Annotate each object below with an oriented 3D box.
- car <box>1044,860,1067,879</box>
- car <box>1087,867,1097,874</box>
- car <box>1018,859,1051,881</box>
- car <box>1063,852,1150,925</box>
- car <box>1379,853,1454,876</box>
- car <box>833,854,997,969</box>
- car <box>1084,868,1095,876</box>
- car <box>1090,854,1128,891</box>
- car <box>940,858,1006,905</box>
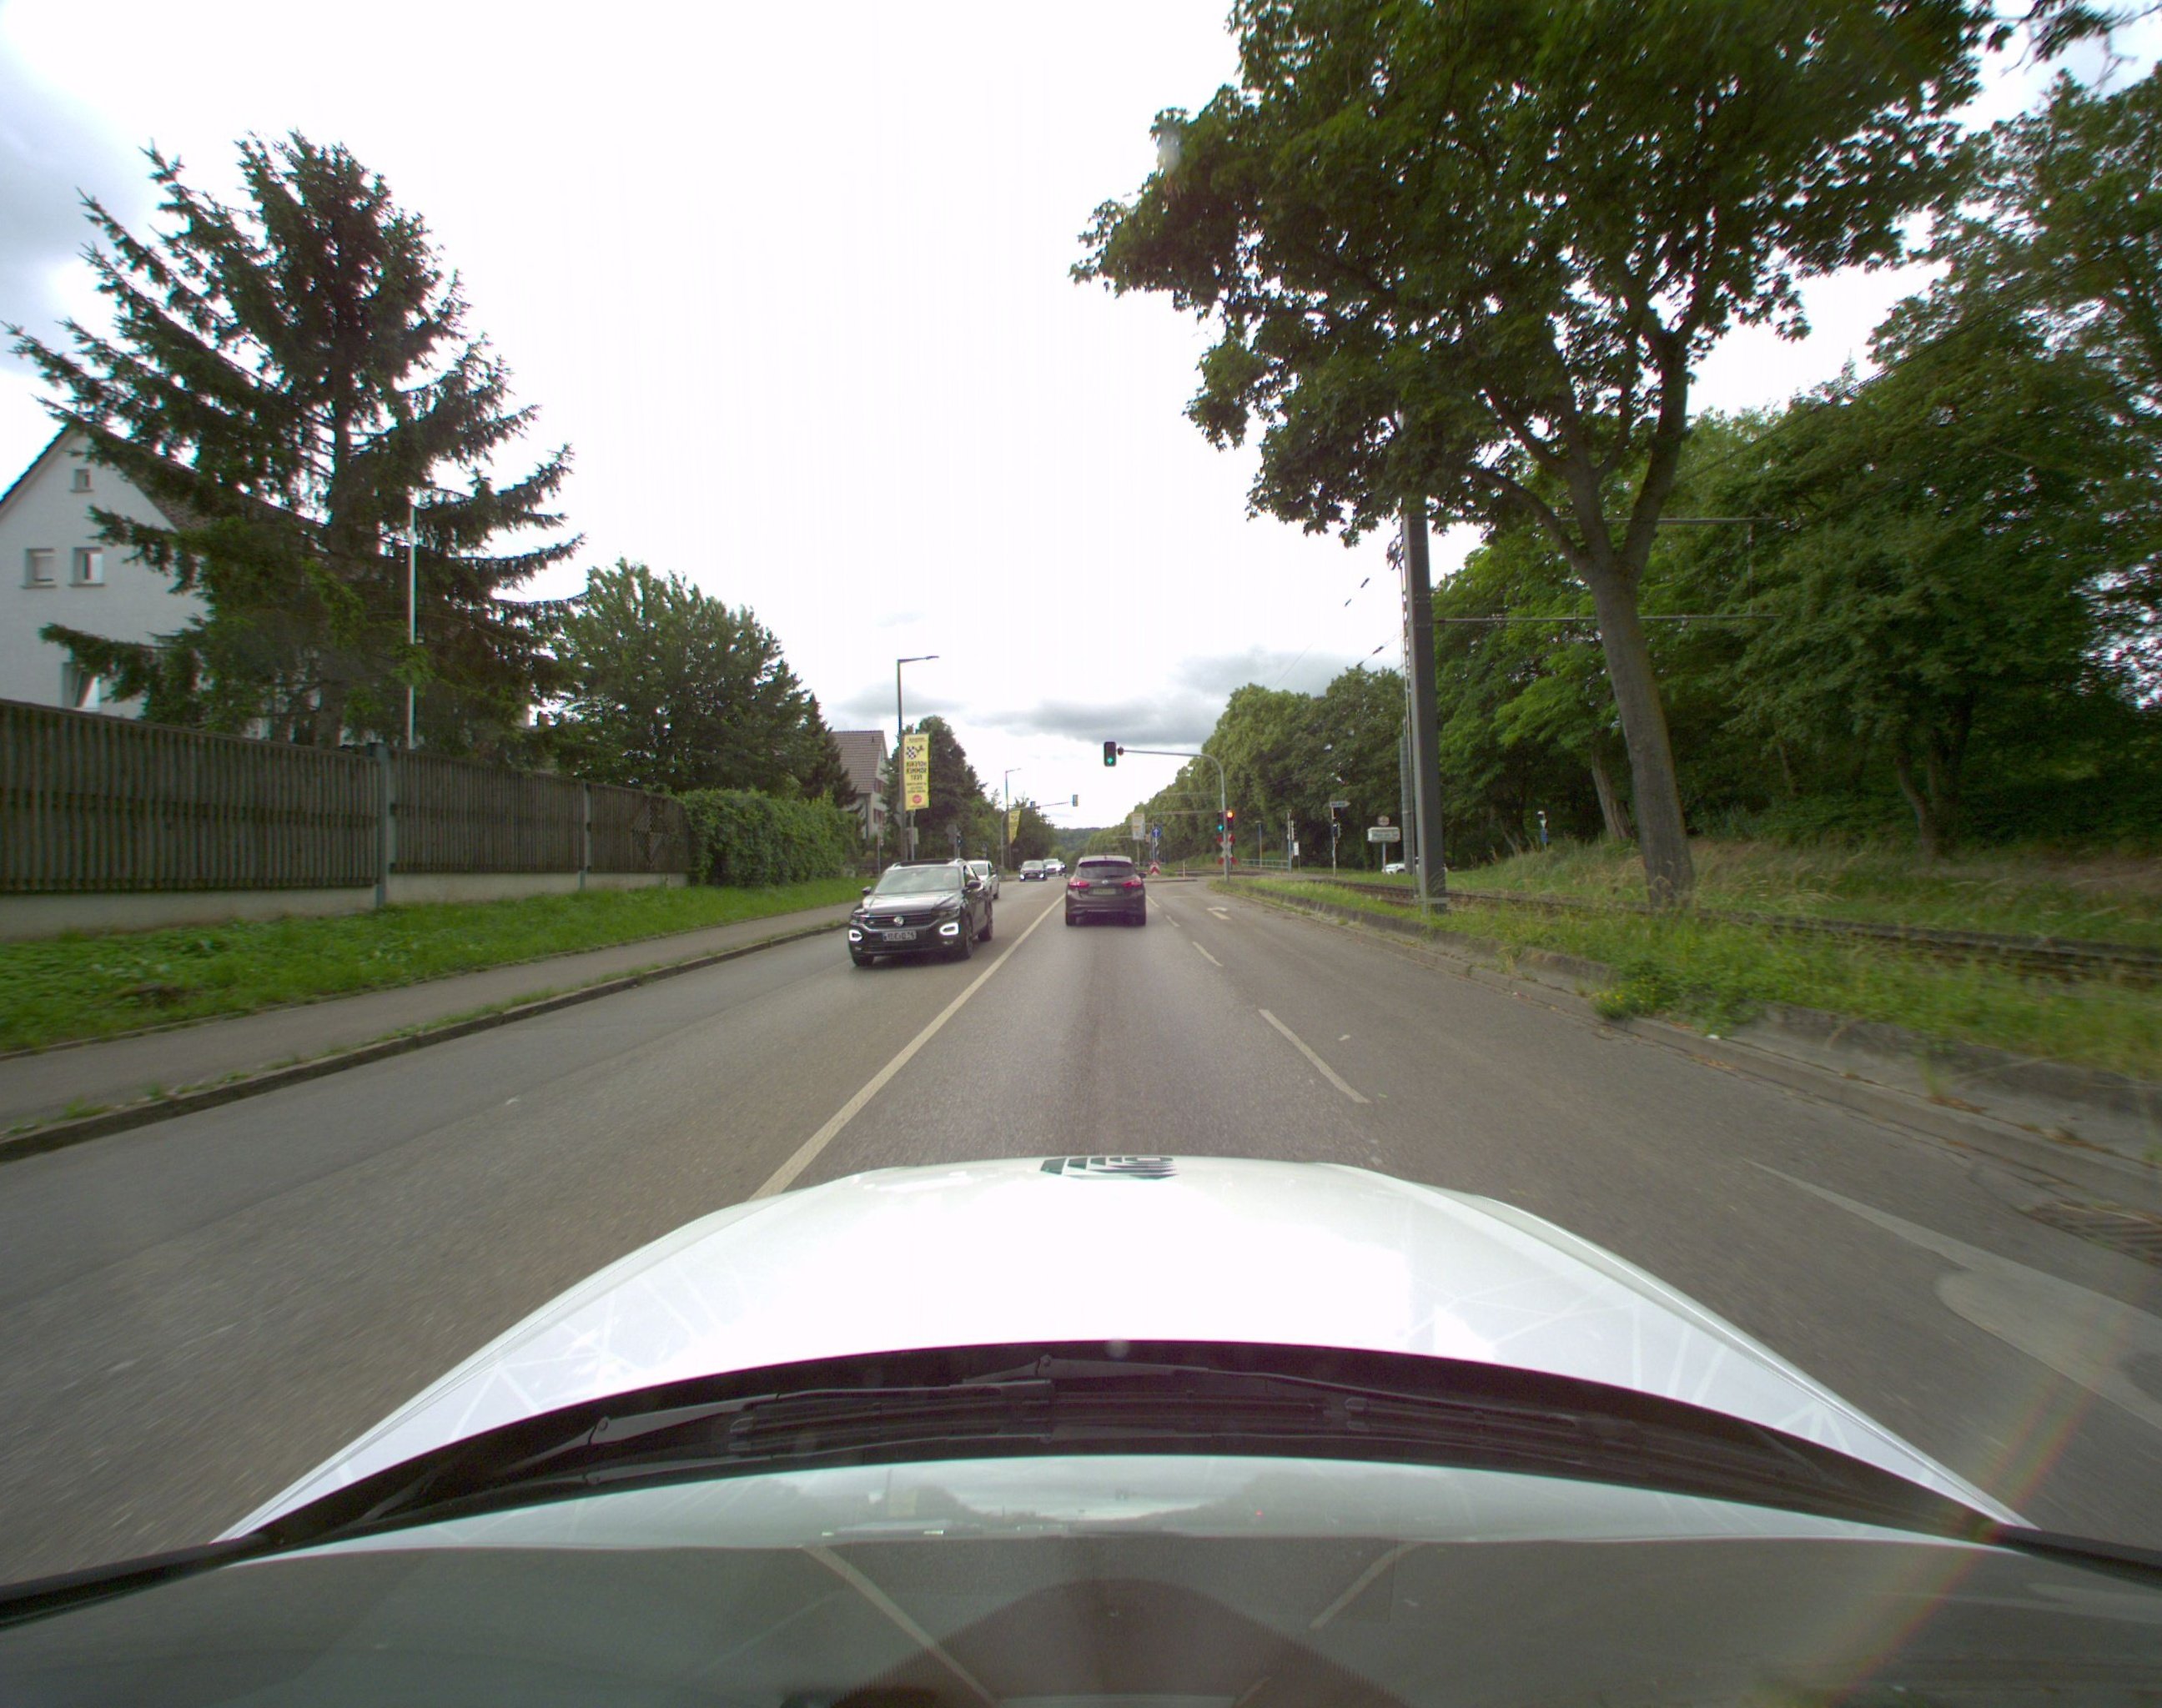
[{"bbox_3d":[-2.201,1.339,72.028,1.813,1.567,5.204,0,0,0],"label":"car"},{"bbox_3d":[2.021,3.065,150.316,1.736,1.310,3.999,0,0,0],"label":"car"},{"bbox_3d":[-3.178,1.060,56.563,1.805,1.373,4.163,2,0,2],"label":"car"},{"bbox_3d":[0.607,0.721,19.345,1.828,1.519,4.485,0,0,2],"label":"car"},{"bbox_3d":[21.518,0.662,52.262,3.979,1.354,1.997,2,0,-4],"label":"car"},{"bbox_3d":[-2.579,0.820,13.679,1.806,1.524,4.177,-3,0,0],"label":"car"},{"bbox_3d":[1.344,2.924,133.723,1.736,1.310,3.999,0,0,0],"label":"car"},{"bbox_3d":[1.256,0.766,36.386,1.533,1.478,3.766,-3,0,2],"label":"car"},{"bbox_3d":[-4.005,0.981,31.004,1.807,1.524,4.700,-3,0,0],"label":"car"}]
